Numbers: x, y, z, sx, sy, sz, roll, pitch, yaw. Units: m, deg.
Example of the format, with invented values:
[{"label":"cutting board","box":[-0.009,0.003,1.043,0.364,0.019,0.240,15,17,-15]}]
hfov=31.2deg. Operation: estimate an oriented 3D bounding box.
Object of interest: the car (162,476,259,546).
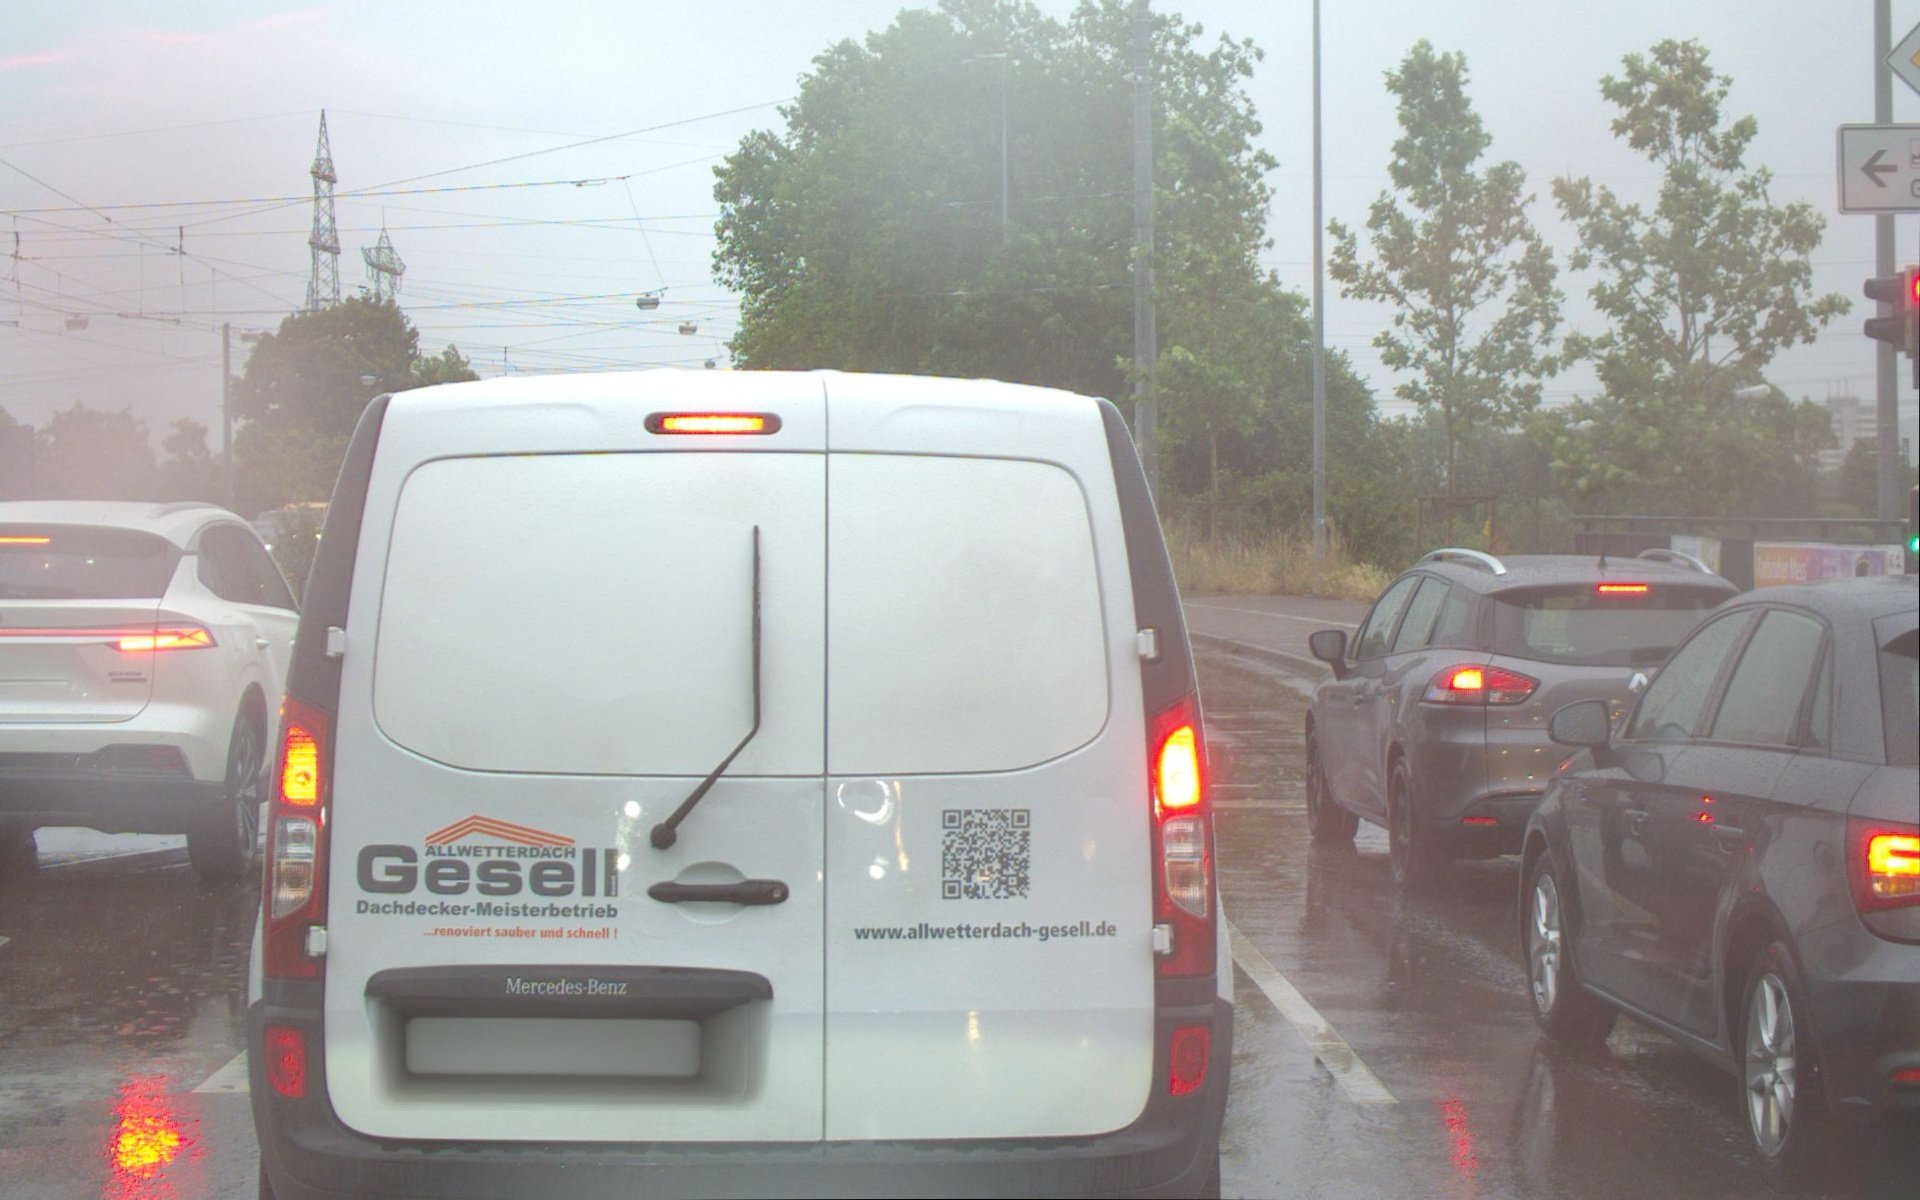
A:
[{"label":"car","box":[-22.650,-2.675,104.017,1.993,2.007,4.000,1,1,1]}]

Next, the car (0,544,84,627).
[{"label":"car","box":[-21.340,-0.346,77.421,1.929,1.820,3.999,1,1,4]}]

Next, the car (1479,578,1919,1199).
[{"label":"car","box":[2.492,0.635,8.917,1.629,1.340,3.624,1,1,-2]}]

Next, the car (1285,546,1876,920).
[{"label":"car","box":[2.642,0.499,15.541,1.859,1.424,3.808,1,1,-2]}]

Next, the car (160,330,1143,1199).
[{"label":"car","box":[-0.516,0.438,7.505,1.566,1.782,4.000,0,1,-1]}]

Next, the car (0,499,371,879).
[{"label":"car","box":[-3.940,0.302,16.094,1.728,1.530,4.298,1,1,-2]}]
